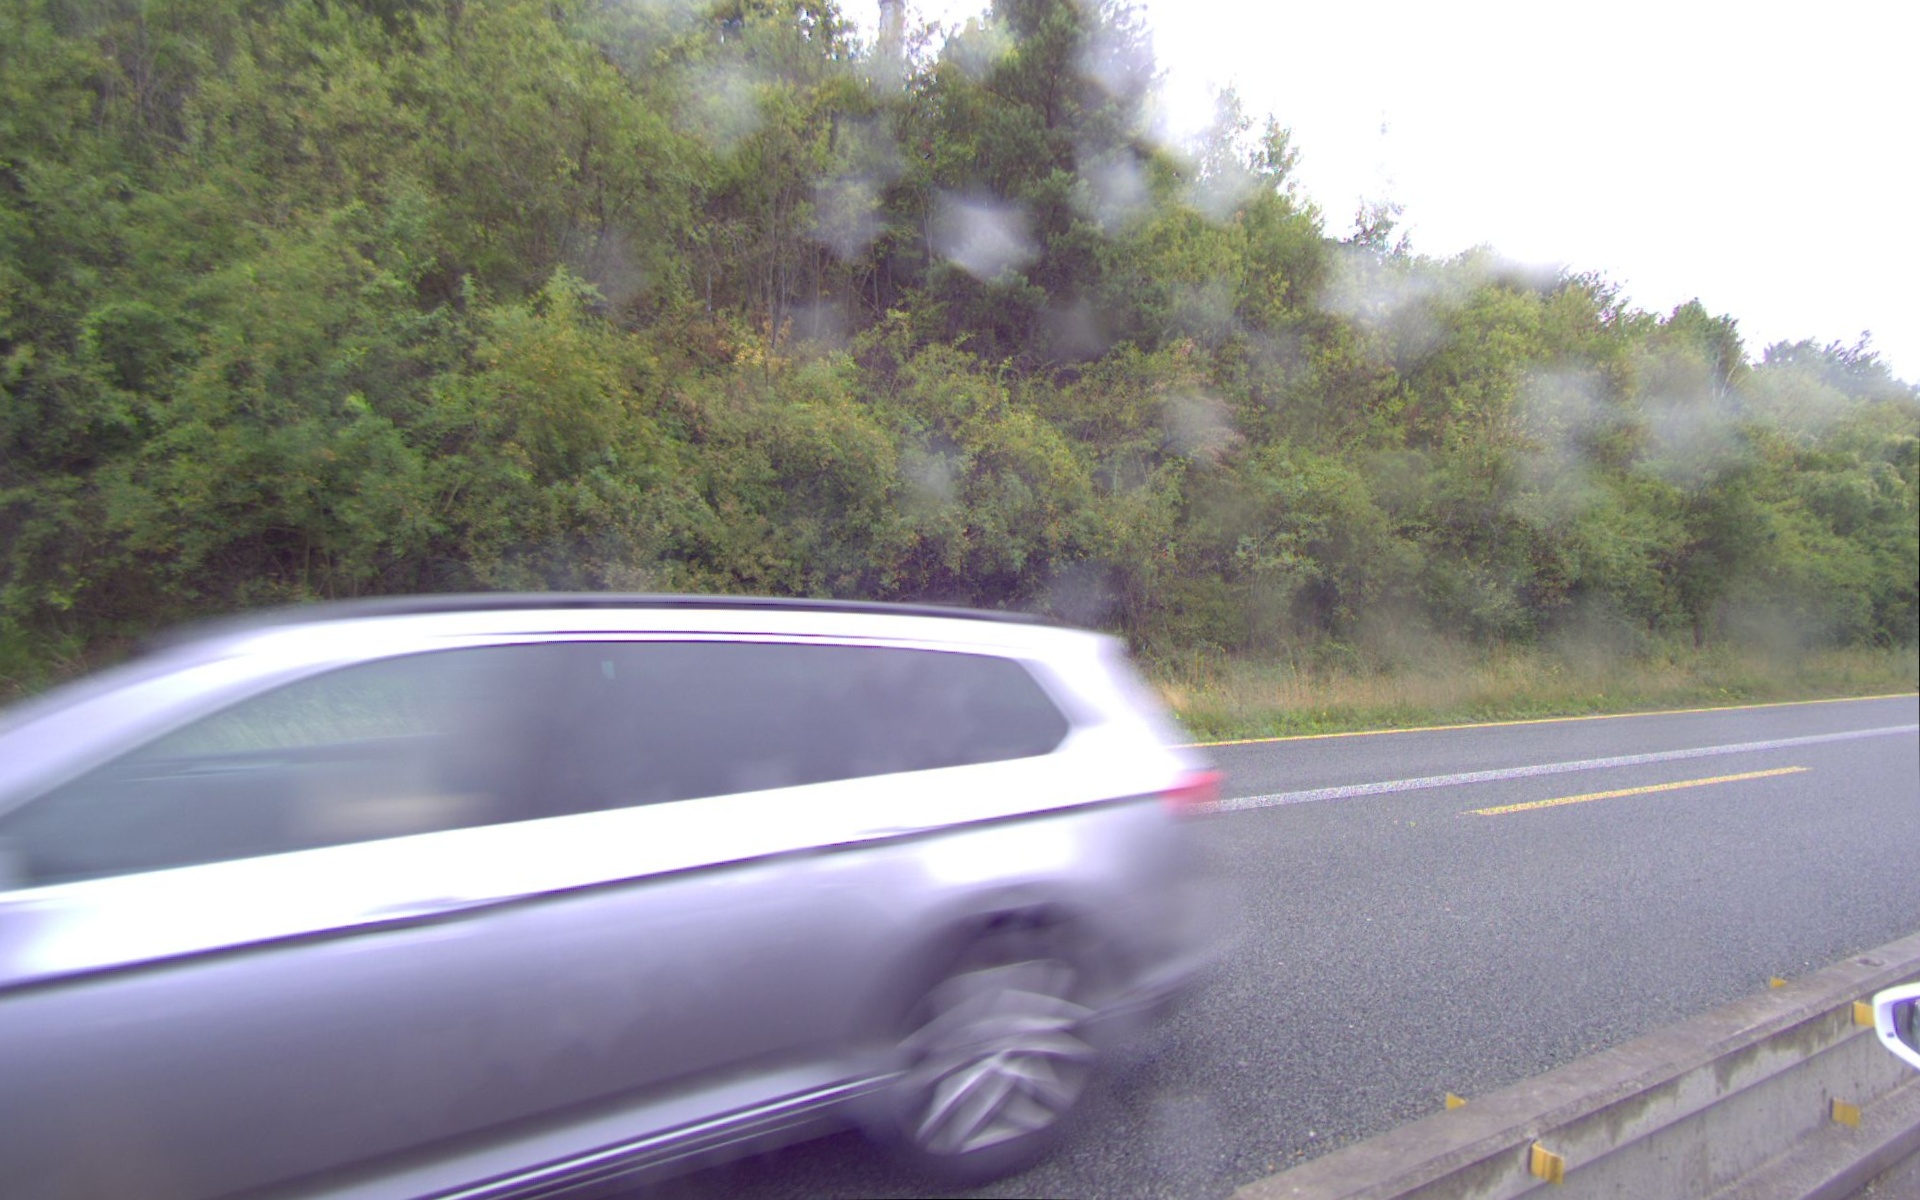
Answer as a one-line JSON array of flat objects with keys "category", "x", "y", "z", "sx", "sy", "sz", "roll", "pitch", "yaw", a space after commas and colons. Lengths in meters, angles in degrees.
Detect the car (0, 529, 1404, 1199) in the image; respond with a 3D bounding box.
[{"category": "car", "x": -0.911, "y": 0.675, "z": 2.856, "sx": 4.346, "sy": 1.508, "sz": 1.801, "roll": 2, "pitch": 0, "yaw": -31}]
